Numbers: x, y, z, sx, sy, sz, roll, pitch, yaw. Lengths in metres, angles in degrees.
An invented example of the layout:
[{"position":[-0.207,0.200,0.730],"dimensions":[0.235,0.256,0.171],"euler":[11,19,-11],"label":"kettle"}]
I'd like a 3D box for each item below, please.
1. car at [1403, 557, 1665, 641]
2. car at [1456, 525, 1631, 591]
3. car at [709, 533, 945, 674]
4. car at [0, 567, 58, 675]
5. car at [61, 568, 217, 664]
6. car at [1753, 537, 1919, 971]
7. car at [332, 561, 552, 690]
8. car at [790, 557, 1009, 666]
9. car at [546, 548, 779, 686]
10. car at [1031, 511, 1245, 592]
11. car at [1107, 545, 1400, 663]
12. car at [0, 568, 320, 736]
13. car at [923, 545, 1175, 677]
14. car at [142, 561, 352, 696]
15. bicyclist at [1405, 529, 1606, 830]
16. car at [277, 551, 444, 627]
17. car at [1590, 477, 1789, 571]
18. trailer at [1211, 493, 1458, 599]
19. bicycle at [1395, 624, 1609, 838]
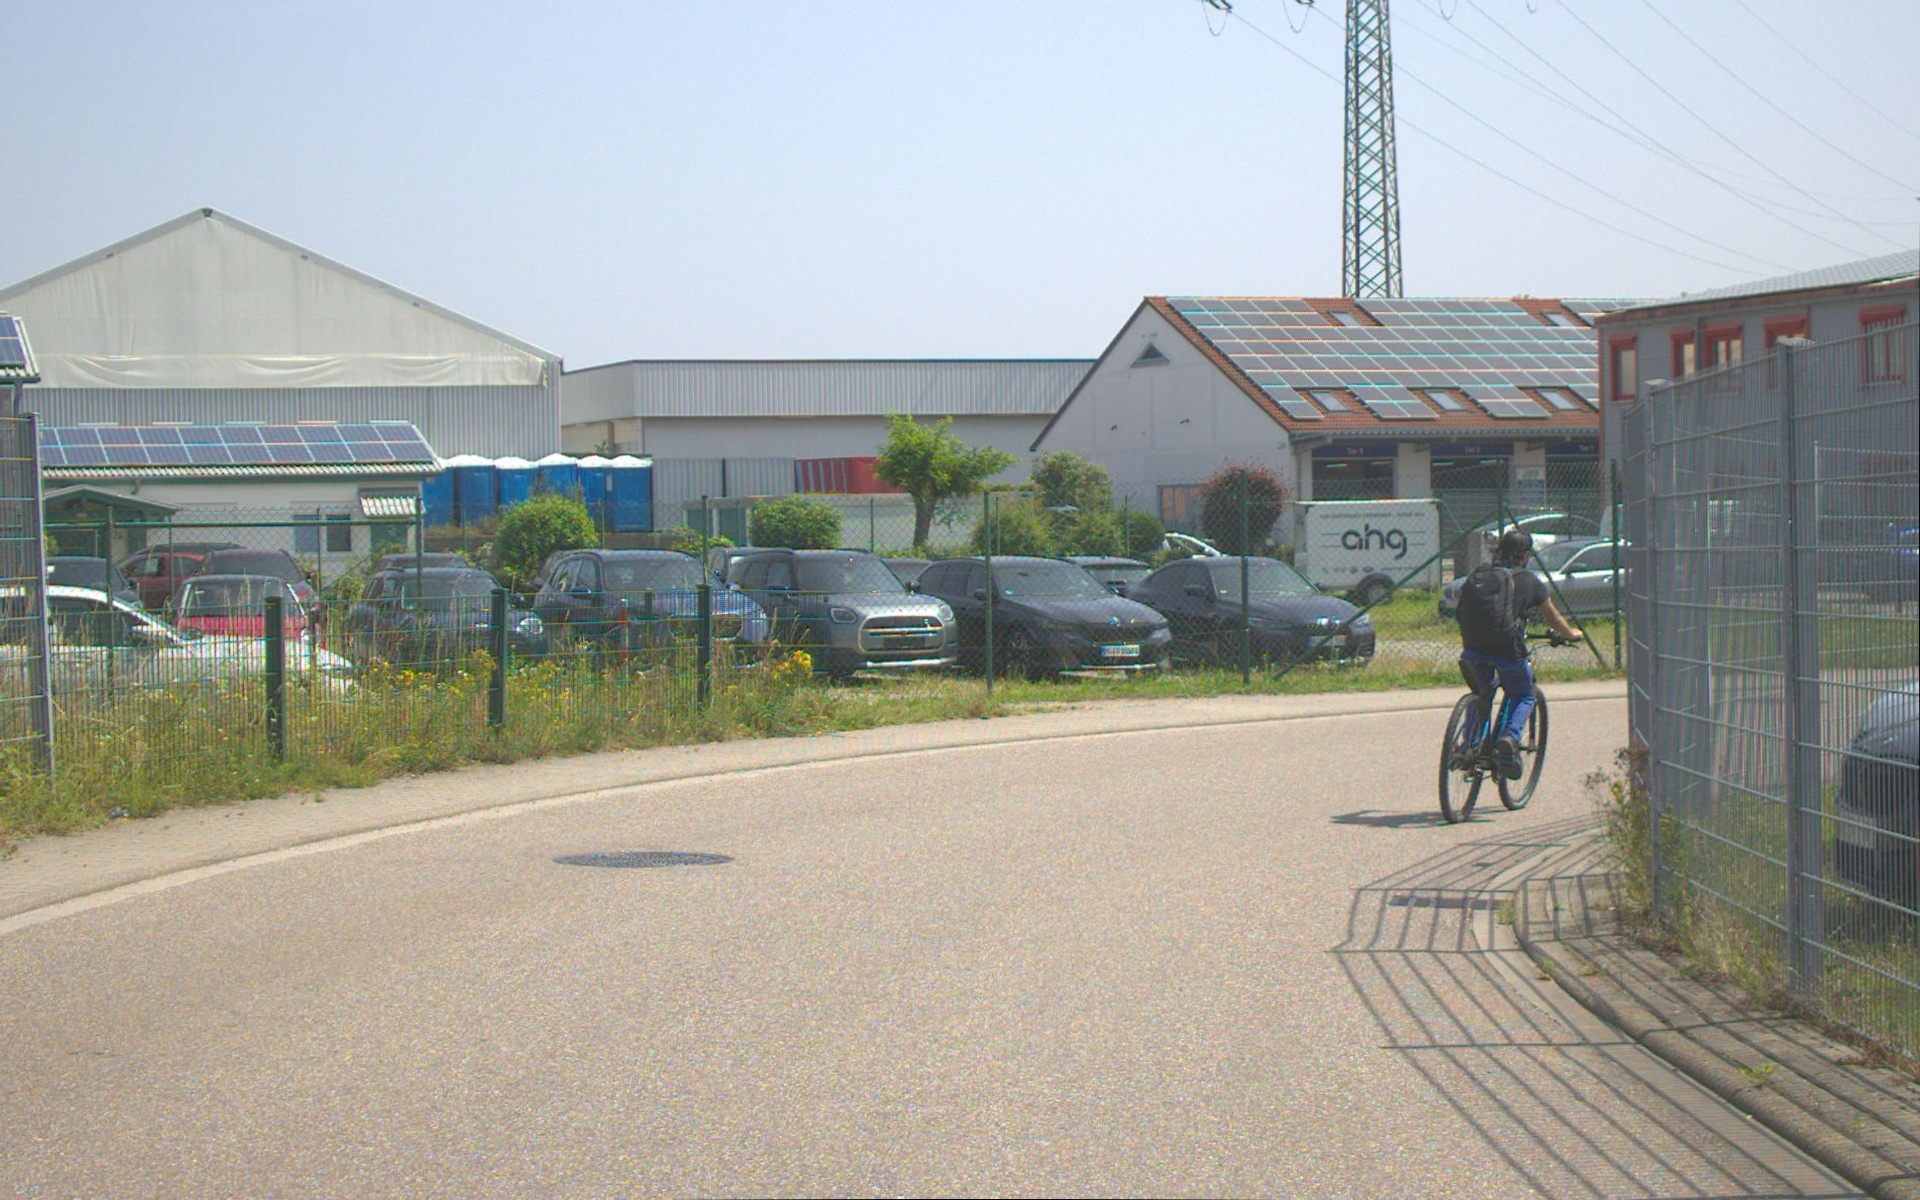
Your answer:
[{"position":[9.344,-0.037,55.904],"dimensions":[4.127,1.256,1.235],"euler":[-1,1,-21],"label":"car"},{"position":[13.946,-1.017,82.170],"dimensions":[3.893,1.510,1.508],"euler":[-1,1,-21],"label":"car"},{"position":[-1.693,0.016,42.457],"dimensions":[1.862,1.638,3.635],"euler":[-1,1,-20],"label":"car"},{"position":[-12.572,0.248,43.384],"dimensions":[1.862,1.294,3.442],"euler":[-1,1,-22],"label":"car"},{"position":[-13.154,0.219,54.913],"dimensions":[1.862,1.428,4.605],"euler":[-1,1,-20],"label":"car"},{"position":[5.387,0.488,12.596],"dimensions":[4.536,1.469,1.825],"euler":[-1,1,0],"label":"car"},{"position":[-6.180,0.264,40.716],"dimensions":[1.862,1.428,3.650],"euler":[-1,1,-20],"label":"car"},{"position":[-0.900,0.128,48.559],"dimensions":[1.993,1.415,4.001],"euler":[-1,1,-18],"label":"car"},{"position":[-3.620,0.164,41.267],"dimensions":[1.862,1.556,3.698],"euler":[-1,1,-20],"label":"car"},{"position":[3.664,-1.007,70.993],"dimensions":[3.986,1.593,1.877],"euler":[-1,1,-18],"label":"car"},{"position":[3.748,0.012,44.762],"dimensions":[1.995,1.430,4.667],"euler":[-1,1,-20],"label":"car"},{"position":[-7.740,0.420,28.493],"dimensions":[4.546,1.302,1.869],"euler":[-1,1,-20],"label":"car"},{"position":[1.059,0.100,42.861],"dimensions":[1.862,1.549,3.771],"euler":[-1,1,-20],"label":"car"},{"position":[-8.288,0.292,39.772],"dimensions":[1.862,1.448,3.442],"euler":[-1,1,-20],"label":"car"},{"position":[3.050,0.417,19.163],"dimensions":[0.843,1.613,1.038],"euler":[1,1,25],"label":"bicyclist"},{"position":[-9.833,-0.203,56.139],"dimensions":[1.862,1.171,4.605],"euler":[-1,1,-20],"label":"car"},{"position":[16.031,-1.679,75.606],"dimensions":[3.893,1.972,1.824],"euler":[-1,1,-21],"label":"car"},{"position":[7.180,-1.050,66.088],"dimensions":[4.447,1.938,1.715],"euler":[-1,1,-5],"label":"trailer"},{"position":[3.047,0.702,19.199],"dimensions":[0.686,1.048,1.898],"euler":[1,2,25],"label":"bicycle"}]
